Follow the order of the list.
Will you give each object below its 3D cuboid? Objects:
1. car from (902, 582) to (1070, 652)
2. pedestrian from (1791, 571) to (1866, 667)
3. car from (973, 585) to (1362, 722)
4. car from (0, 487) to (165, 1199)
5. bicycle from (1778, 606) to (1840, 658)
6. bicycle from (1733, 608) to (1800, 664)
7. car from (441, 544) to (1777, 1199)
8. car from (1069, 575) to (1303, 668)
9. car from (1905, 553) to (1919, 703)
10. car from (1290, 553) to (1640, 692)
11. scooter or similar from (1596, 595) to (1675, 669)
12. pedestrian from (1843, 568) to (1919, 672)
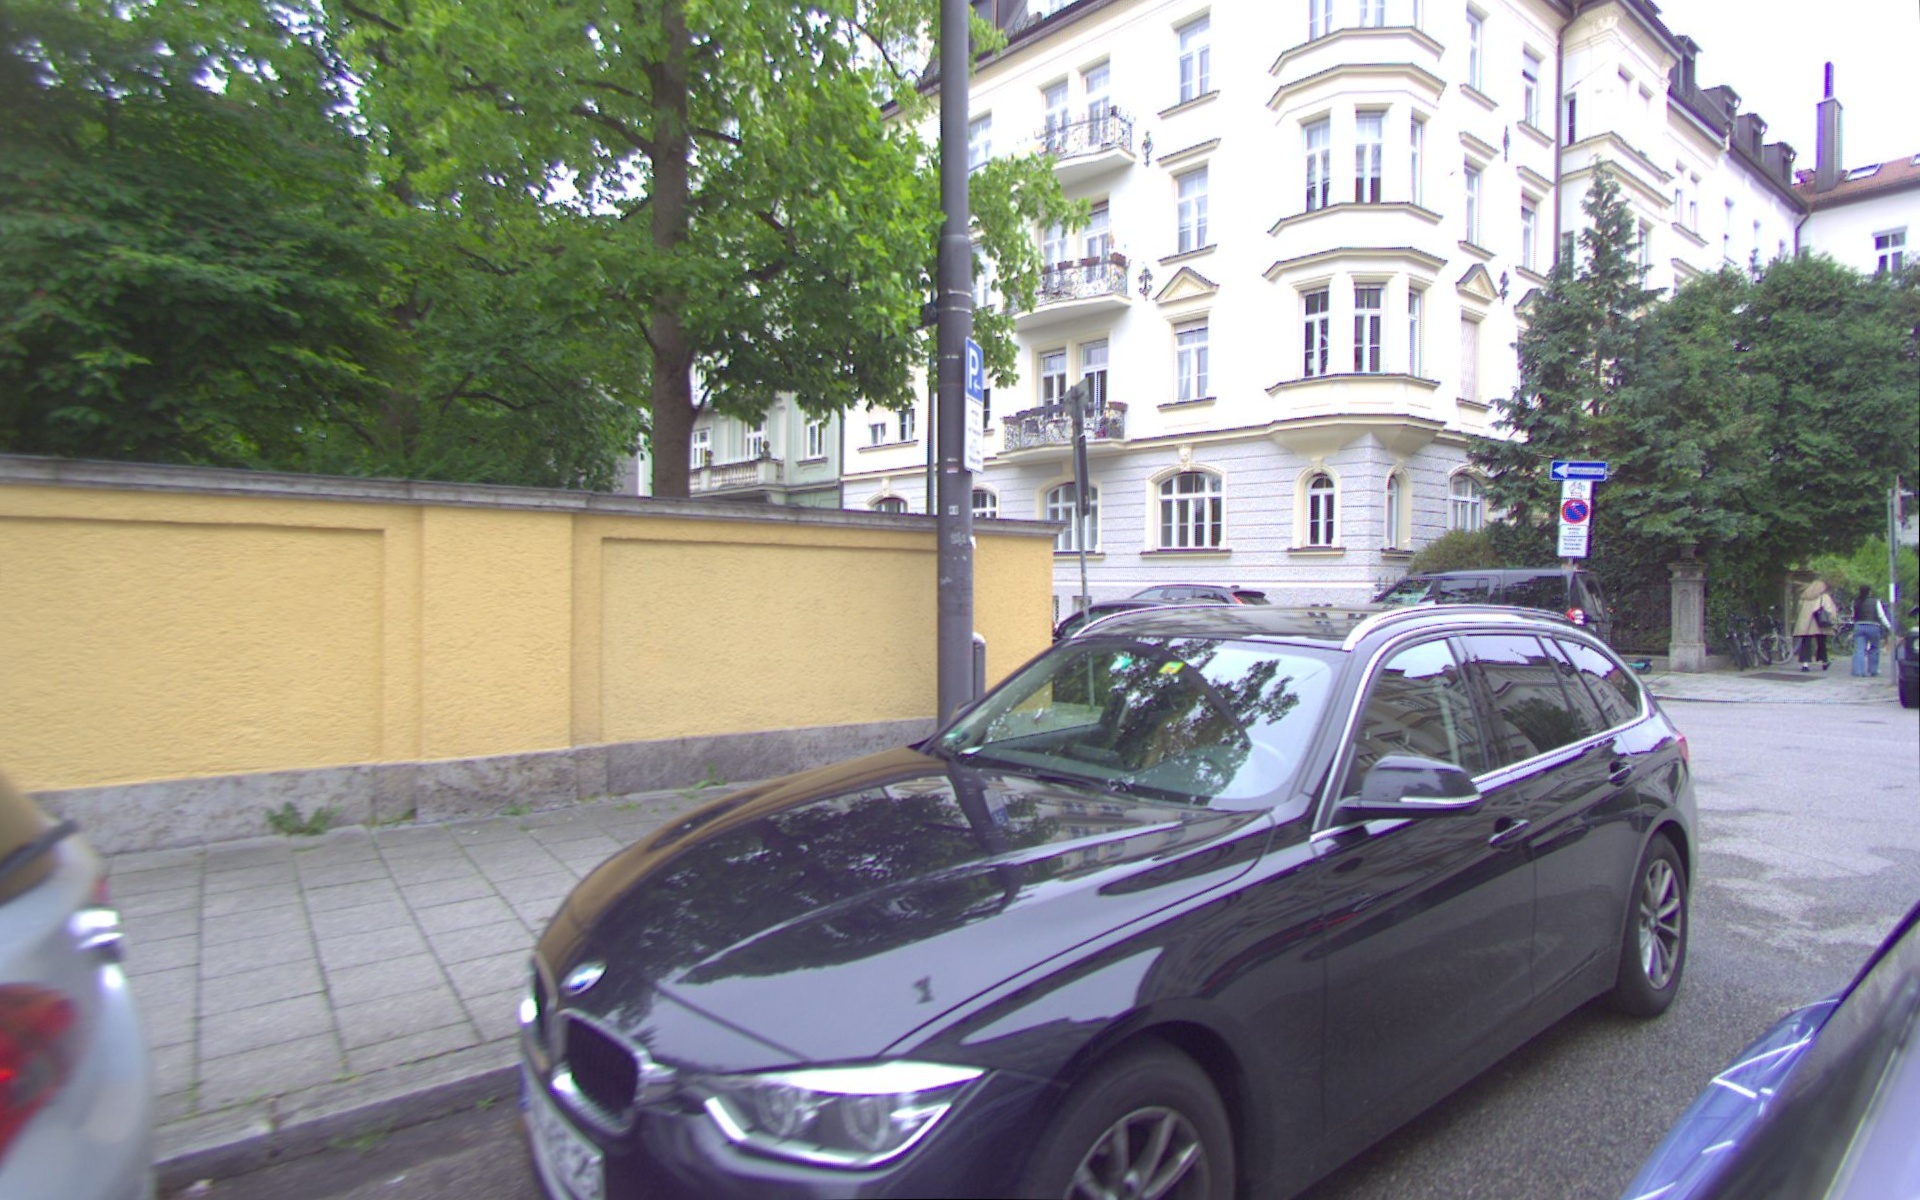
[{"bbox_3d":[0.544,0.379,23.812,1.712,1.469,3.884,3,-1,-43],"label":"car"},{"bbox_3d":[16.107,0.329,18.774,1.033,1.711,0.876,0,1,-38],"label":"pedestrian"},{"bbox_3d":[2.524,0.557,13.405,1.714,1.430,4.943,0,1,-44],"label":"car"},{"bbox_3d":[-3.009,0.613,0.491,4.109,1.471,1.717,0,1,-40],"label":"car"},{"bbox_3d":[17.255,0.630,20.560,1.745,0.997,0.449,0,0,-32],"label":"bicycle"},{"bbox_3d":[15.285,0.661,19.158,1.745,0.997,0.449,0,0,-32],"label":"bicycle"},{"bbox_3d":[1.090,0.633,3.465,4.867,1.471,1.717,0,1,-40],"label":"car"},{"bbox_3d":[4.294,0.363,19.716,1.712,1.607,4.218,3,-1,-43],"label":"car"},{"bbox_3d":[14.974,0.348,14.116,4.353,1.986,1.997,0,-3,-40],"label":"car"},{"bbox_3d":[7.835,0.289,16.088,1.712,1.896,4.671,3,-1,-43],"label":"car"},{"bbox_3d":[12.199,0.552,18.294,0.439,1.279,1.090,0,1,-36],"label":"scooter or similar"},{"bbox_3d":[16.409,0.331,18.012,1.033,1.778,0.876,0,1,-38],"label":"pedestrian"}]
